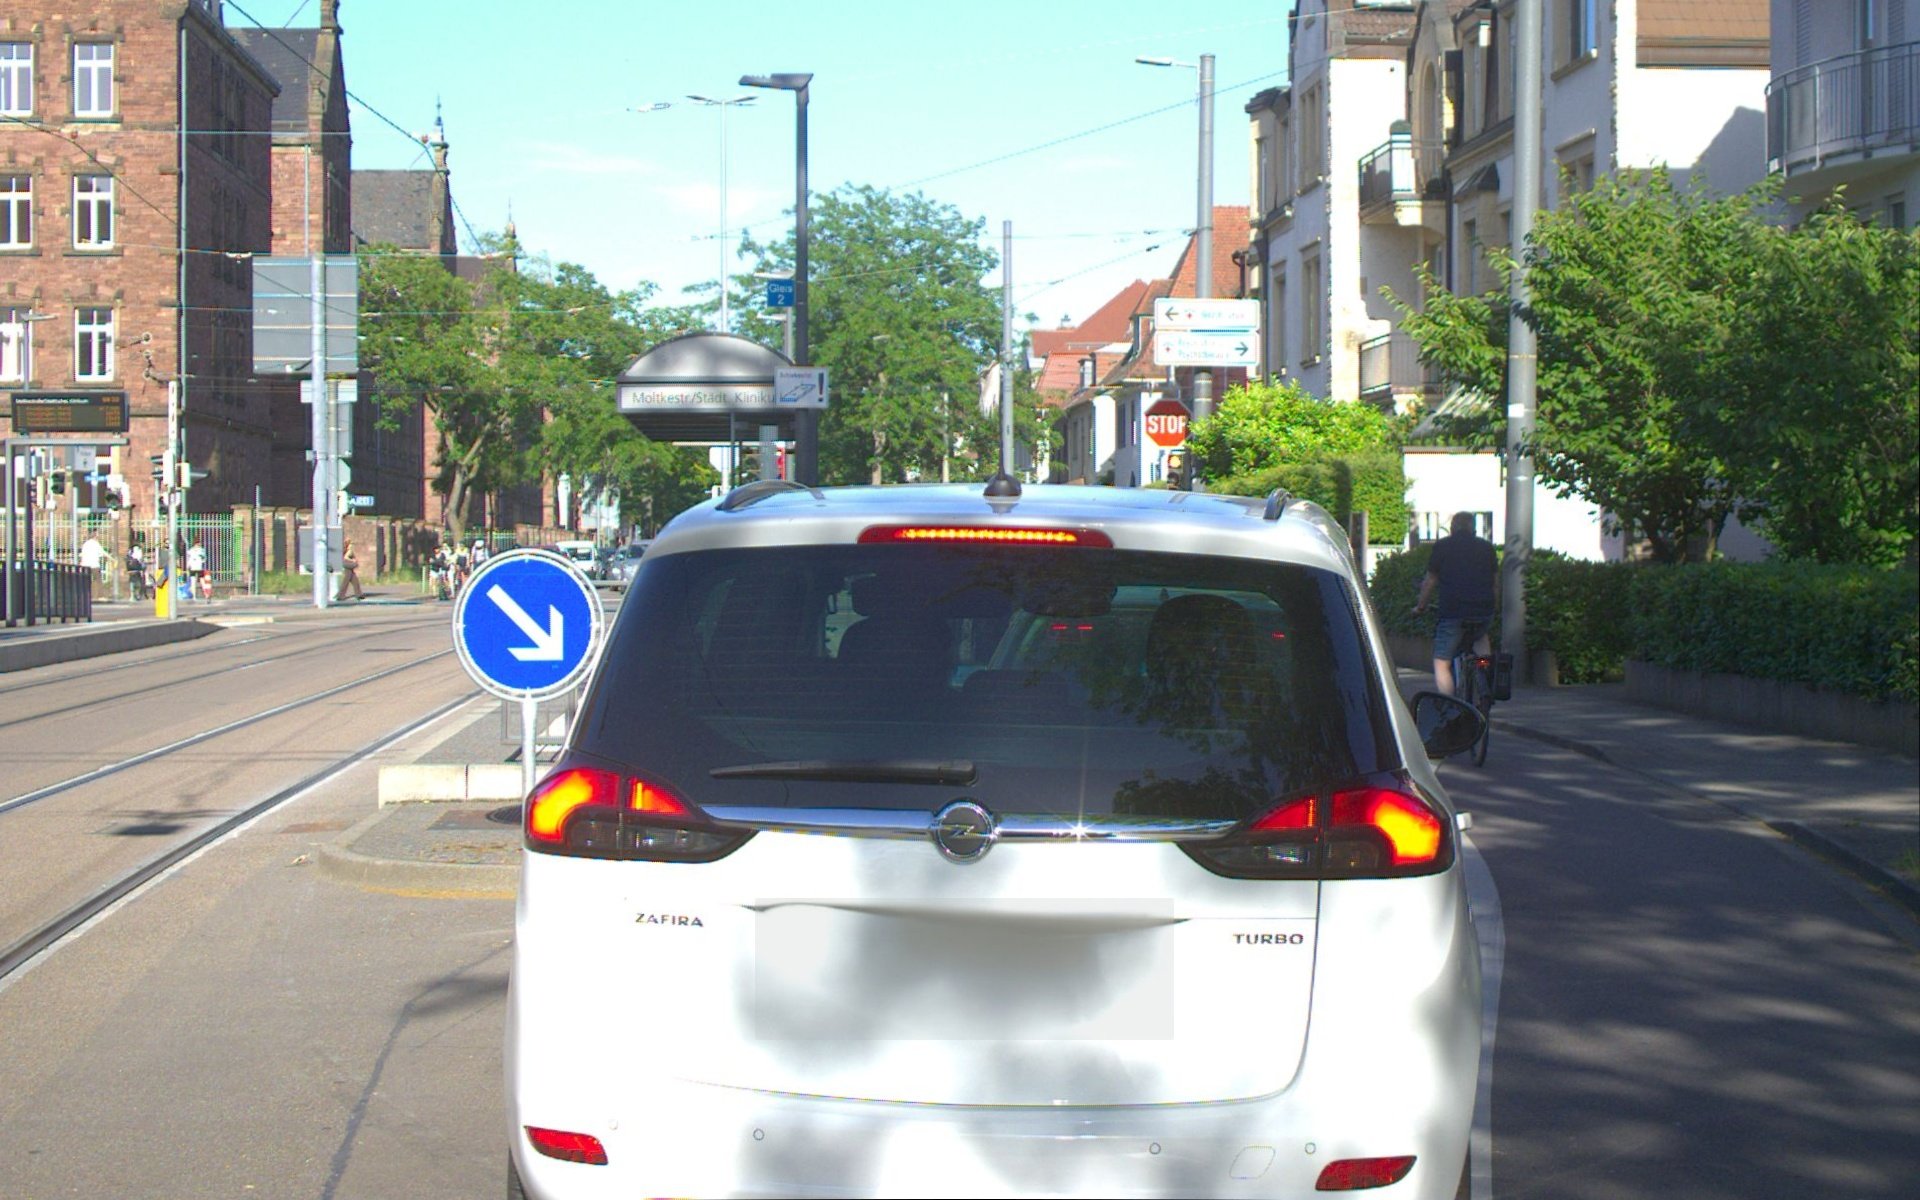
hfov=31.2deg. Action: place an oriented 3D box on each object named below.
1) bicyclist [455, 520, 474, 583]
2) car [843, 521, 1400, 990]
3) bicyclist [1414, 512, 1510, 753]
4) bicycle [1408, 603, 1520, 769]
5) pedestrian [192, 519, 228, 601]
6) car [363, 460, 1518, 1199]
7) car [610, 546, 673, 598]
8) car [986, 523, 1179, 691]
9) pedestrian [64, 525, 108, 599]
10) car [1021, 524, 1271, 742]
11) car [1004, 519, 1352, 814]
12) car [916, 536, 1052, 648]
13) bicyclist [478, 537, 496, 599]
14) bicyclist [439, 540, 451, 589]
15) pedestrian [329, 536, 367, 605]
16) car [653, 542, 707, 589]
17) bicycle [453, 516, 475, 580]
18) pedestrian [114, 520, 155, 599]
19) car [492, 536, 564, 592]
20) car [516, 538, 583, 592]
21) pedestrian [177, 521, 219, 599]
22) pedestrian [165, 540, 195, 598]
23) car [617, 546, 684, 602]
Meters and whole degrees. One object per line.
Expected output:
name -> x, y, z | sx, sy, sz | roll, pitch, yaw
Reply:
bicyclist -> -15.709, -1.534, 108.986 | 0.498, 2.007, 0.572 | 0, 1, -1
car -> 0.777, 0.490, 13.778 | 1.907, 1.592, 3.999 | 0, 1, 7
bicyclist -> 3.558, 0.222, 24.412 | 0.616, 1.681, 0.779 | 0, 1, 5
bicycle -> 3.561, 0.589, 24.399 | 0.624, 1.093, 1.973 | 0, 1, 4
pedestrian -> -18.536, -0.999, 84.978 | 0.794, 2.007, 0.721 | 1, 0, -17
car -> 0.180, 0.563, 7.633 | 1.907, 1.656, 3.999 | 0, 1, 7
car -> -10.660, -0.947, 115.222 | 1.746, 1.710, 4.000 | 1, 1, -1
car -> 1.237, 0.035, 36.115 | 1.907, 1.656, 4.000 | 0, 1, 1
pedestrian -> -22.631, -0.977, 89.023 | 0.808, 1.894, 0.743 | 1, 0, 14
car -> 1.561, 0.216, 28.278 | 1.907, 1.656, 4.000 | 0, 1, 4
car -> 1.425, 0.328, 21.001 | 1.907, 1.619, 3.999 | 0, 1, 7
car -> 0.332, -0.150, 53.093 | 1.907, 1.656, 4.001 | 0, 1, -2
bicyclist -> -15.398, -1.055, 111.931 | 0.488, 2.007, 0.502 | 1, 0, -1
bicyclist -> -15.434, -1.064, 103.046 | 0.313, 1.439, 0.384 | 0, 1, -1
pedestrian -> -17.052, -0.818, 95.840 | 0.741, 1.894, 0.810 | 1, 0, -37
car -> -10.498, -1.294, 129.073 | 1.746, 1.710, 4.000 | 1, 1, -1
bicycle -> -15.711, -1.655, 108.948 | 0.487, 2.007, 1.405 | 0, 1, 0
pedestrian -> -21.206, -1.042, 88.349 | 0.795, 2.007, 0.720 | 1, 0, -34
car -> -13.435, -1.118, 107.048 | 1.746, 1.710, 4.000 | 1, 1, -1
car -> -13.562, -1.153, 113.716 | 1.746, 1.710, 4.000 | 1, 1, -1
pedestrian -> -19.720, -1.028, 88.972 | 0.795, 2.007, 0.720 | 1, 0, -37
pedestrian -> -21.621, -0.860, 95.320 | 0.654, 1.606, 0.711 | 1, 0, 2
car -> -9.648, -0.818, 107.365 | 1.746, 1.710, 4.000 | 1, 1, -1
